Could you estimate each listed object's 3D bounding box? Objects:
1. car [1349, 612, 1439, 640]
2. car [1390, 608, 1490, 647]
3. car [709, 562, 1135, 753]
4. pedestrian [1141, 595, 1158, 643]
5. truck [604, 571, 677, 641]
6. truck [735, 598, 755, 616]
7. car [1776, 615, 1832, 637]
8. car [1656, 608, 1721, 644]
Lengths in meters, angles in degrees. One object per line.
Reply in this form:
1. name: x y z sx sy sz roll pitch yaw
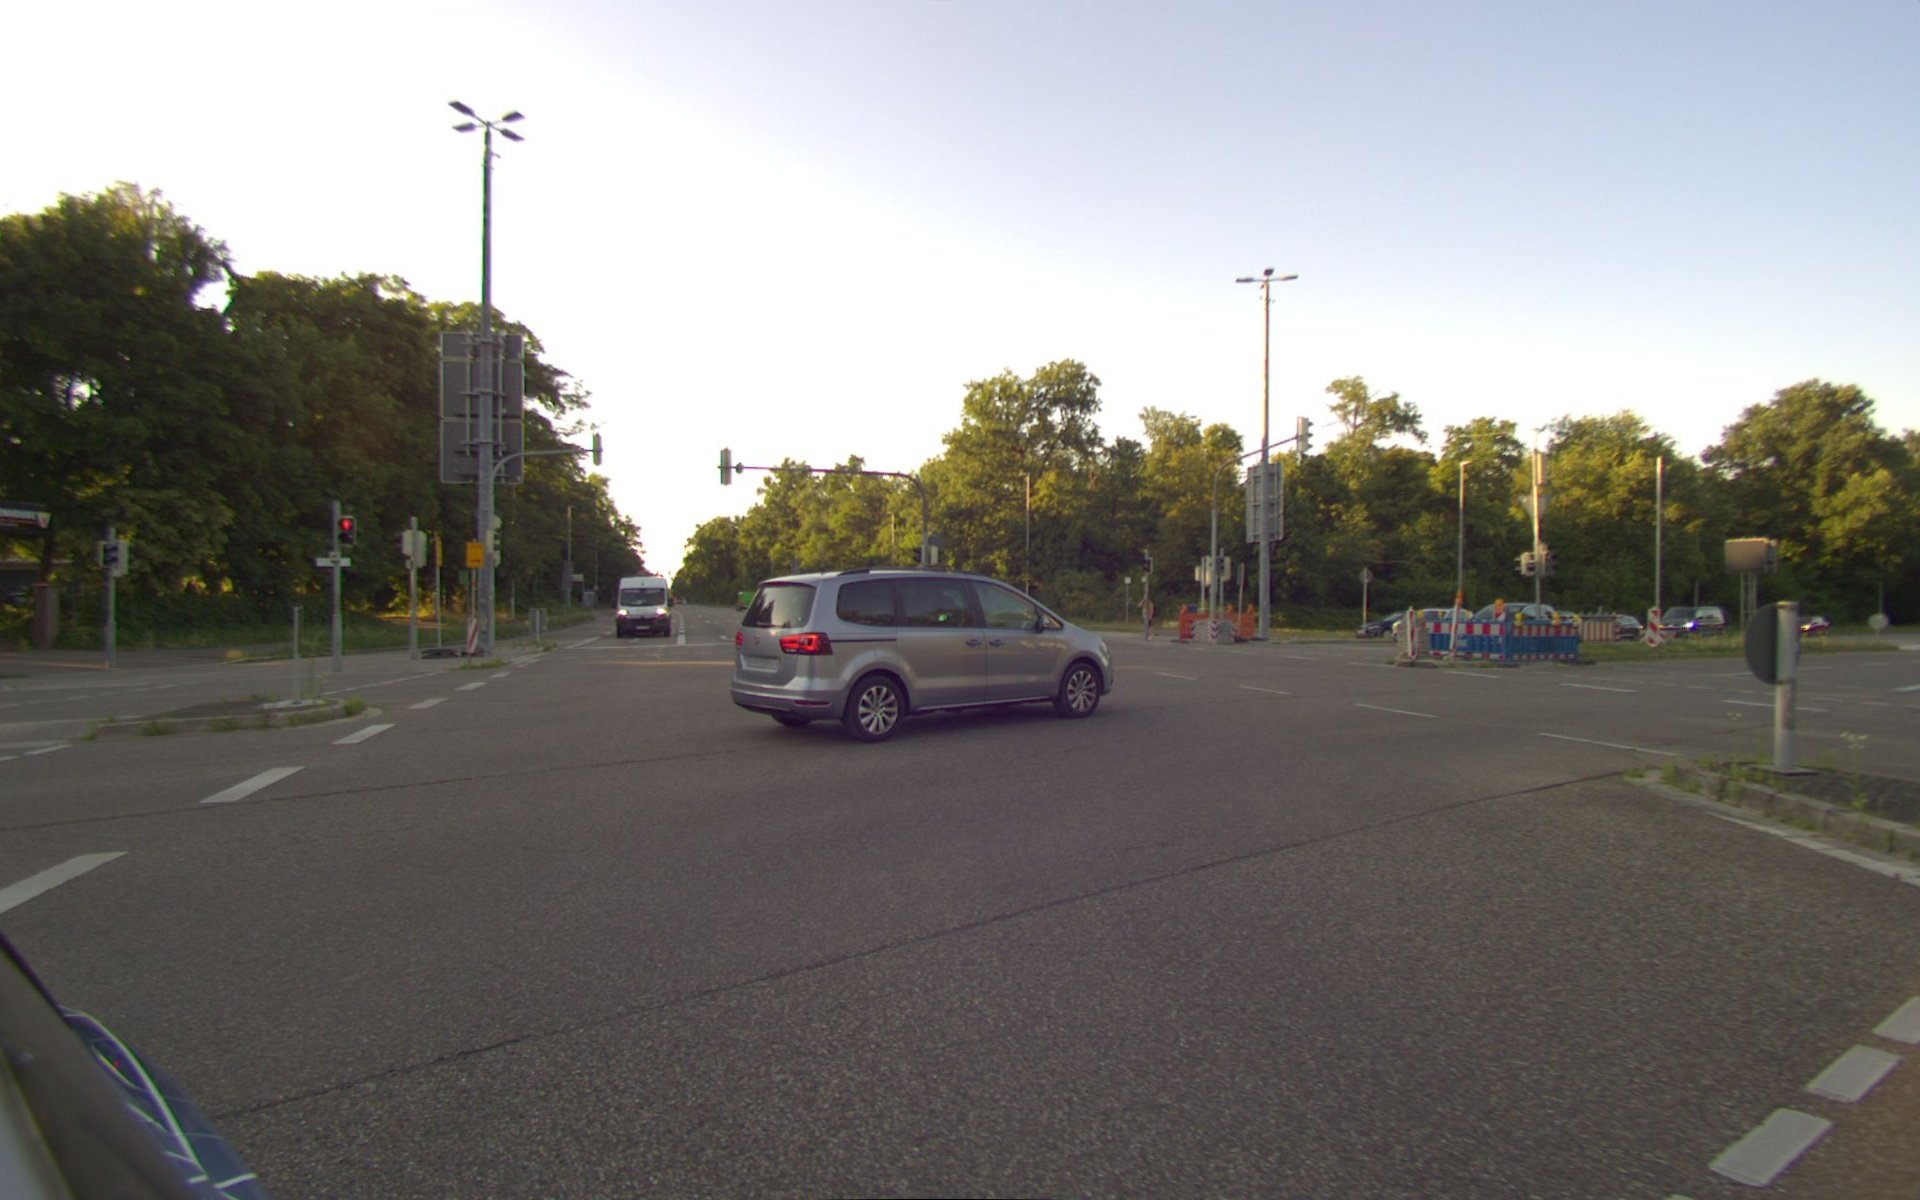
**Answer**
1. car: 20.409 1.213 47.664 3.588 1.253 1.611 0 0 -11
2. car: 19.460 1.075 40.965 4.162 1.467 1.727 0 0 -33
3. car: -0.275 0.519 11.374 4.585 1.737 1.876 0 0 -39
4. pedestrian: 7.326 0.726 39.109 0.571 1.814 0.745 0 0 18
5. truck: -13.211 0.255 41.783 2.561 2.576 6.041 -3 0 -18
6. truck: -26.433 0.820 124.233 1.966 2.137 4.013 0 0 -18
7. car: 58.125 1.781 69.689 4.162 1.432 1.889 0 0 -34
8. car: 42.718 1.481 59.342 4.163 2.040 1.888 0 0 -36
